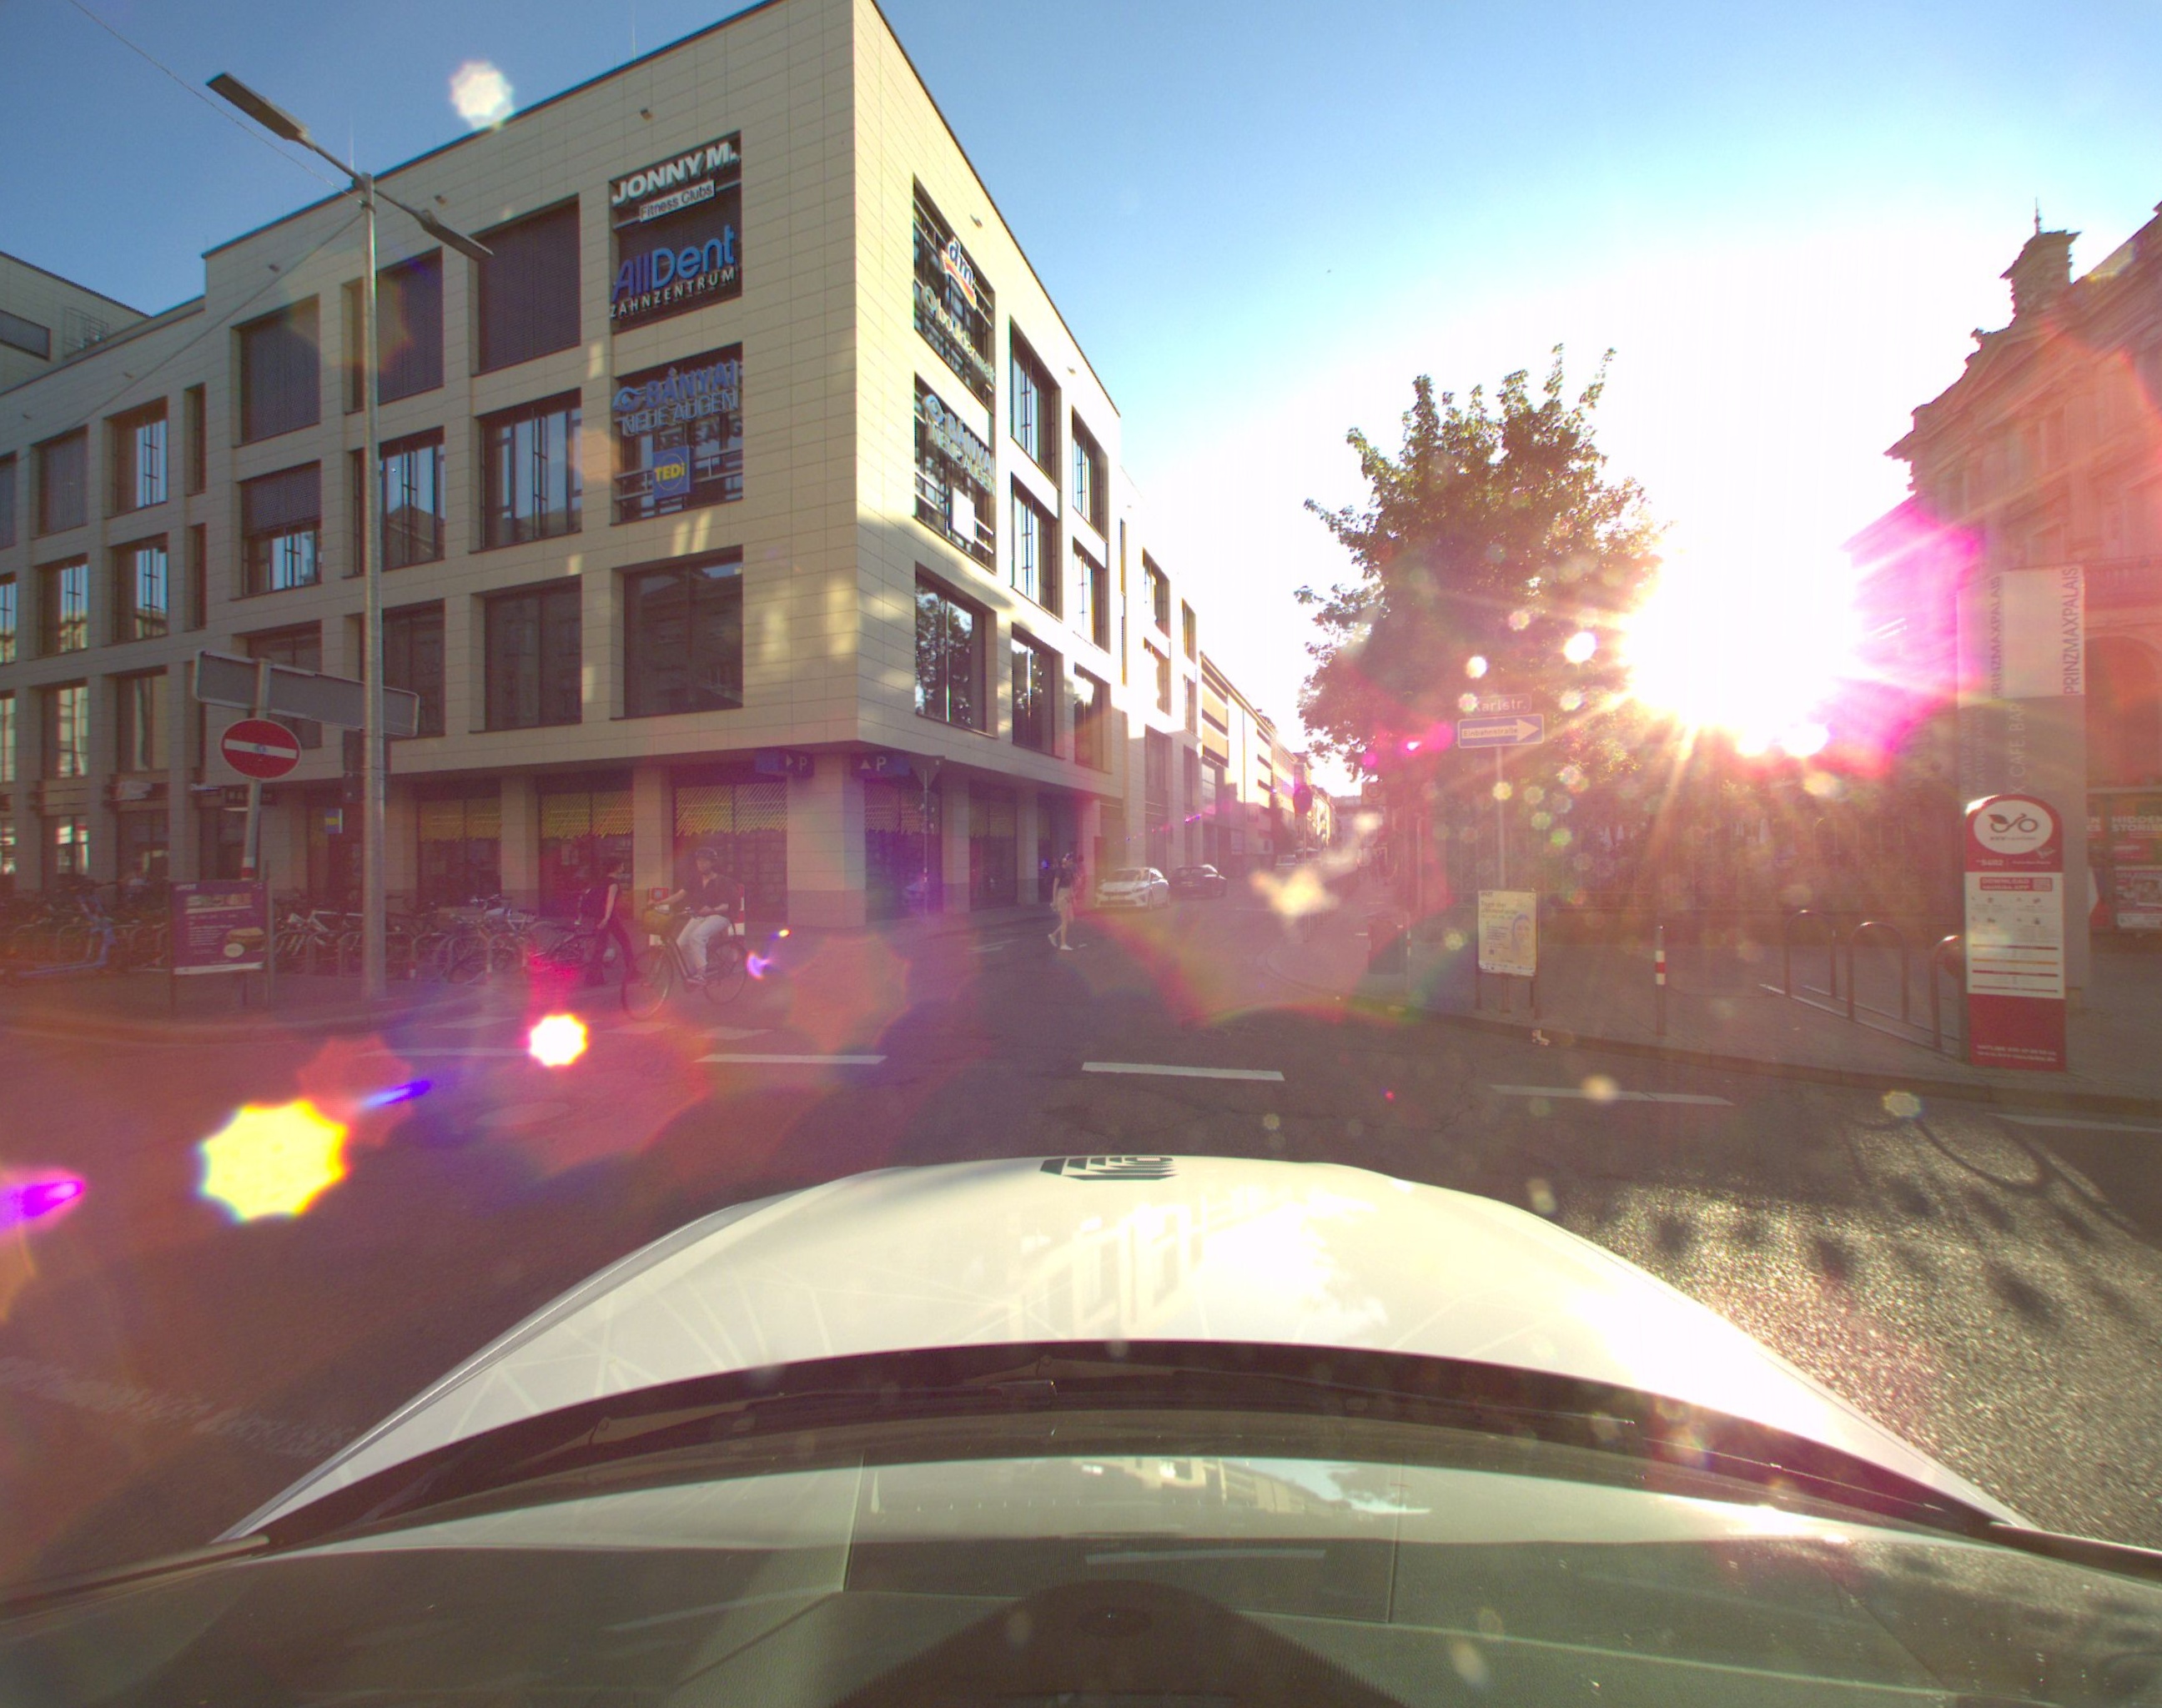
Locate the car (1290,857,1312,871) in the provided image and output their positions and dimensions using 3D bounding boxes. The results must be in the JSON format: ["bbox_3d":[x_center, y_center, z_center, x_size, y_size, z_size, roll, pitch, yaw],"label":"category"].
[{"bbox_3d":[22.295,1.011,82.534,1.868,1.453,4.019,0,0,19],"label":"car"}]

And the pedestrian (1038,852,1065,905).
[{"bbox_3d":[-0.955,0.785,26.362,0.666,1.675,0.650,0,-1,18],"label":"pedestrian"}]

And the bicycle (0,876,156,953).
[{"bbox_3d":[-17.895,1.028,14.388,0.507,1.255,1.988,0,-1,19],"label":"bicycle"}]

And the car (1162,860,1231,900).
[{"bbox_3d":[5.129,1.082,35.577,1.867,1.598,4.714,0,0,22],"label":"car"}]

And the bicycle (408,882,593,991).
[{"bbox_3d":[-7.571,1.019,10.773,0.576,1.255,2.053,0,-1,16],"label":"bicycle"}]

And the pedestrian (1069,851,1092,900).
[{"bbox_3d":[-0.019,0.781,29.600,0.666,1.744,0.650,-1,-1,20],"label":"pedestrian"}]

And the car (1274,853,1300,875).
[{"bbox_3d":[18.215,0.891,71.905,1.868,1.912,4.770,0,0,18],"label":"car"}]

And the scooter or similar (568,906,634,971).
[{"bbox_3d":[-7.159,1.247,12.158,0.383,0.884,0.773,0,-1,19],"label":"scooter or similar"}]

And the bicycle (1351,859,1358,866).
[{"bbox_3d":[45.873,1.431,136.707,0.967,1.280,2.768,0,-1,20],"label":"bicycle"}]

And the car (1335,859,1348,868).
[{"bbox_3d":[47.622,1.751,148.864,1.977,1.684,4.020,0,-1,20],"label":"car"}]

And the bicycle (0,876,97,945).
[{"bbox_3d":[-19.984,1.048,15.198,0.507,1.255,1.988,0,-1,19],"label":"bicycle"}]

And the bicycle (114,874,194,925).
[{"bbox_3d":[-23.708,1.147,20.825,1.956,1.255,0.615,0,-1,19],"label":"bicycle"}]

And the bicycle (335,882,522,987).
[{"bbox_3d":[-8.783,1.029,11.089,0.507,1.255,1.989,0,-1,21],"label":"bicycle"}]

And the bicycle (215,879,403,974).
[{"bbox_3d":[-11.338,1.014,12.067,0.507,1.255,1.988,0,-1,19],"label":"bicycle"}]

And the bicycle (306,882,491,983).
[{"bbox_3d":[-9.463,1.032,11.414,0.507,1.255,1.988,0,-1,19],"label":"bicycle"}]

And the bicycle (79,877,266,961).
[{"bbox_3d":[-14.798,1.012,13.356,0.507,1.255,1.988,0,-1,19],"label":"bicycle"}]

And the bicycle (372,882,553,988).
[{"bbox_3d":[-8.191,1.020,10.914,0.508,1.255,1.987,0,-1,16],"label":"bicycle"}]

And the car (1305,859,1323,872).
[{"bbox_3d":[27.377,1.306,95.553,1.868,1.453,4.019,0,0,19],"label":"car"}]

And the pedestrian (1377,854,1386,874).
[{"bbox_3d":[25.387,0.851,68.729,0.656,1.666,0.627,-3,-1,20],"label":"pedestrian"}]

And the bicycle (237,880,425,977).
[{"bbox_3d":[-10.812,1.023,11.856,0.507,1.255,1.988,0,-1,19],"label":"bicycle"}]

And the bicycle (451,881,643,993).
[{"bbox_3d":[-6.830,1.005,10.595,0.659,1.255,2.150,0,-1,16],"label":"bicycle"}]

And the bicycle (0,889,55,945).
[{"bbox_3d":[-25.356,1.485,19.345,1.957,1.255,0.515,0,-1,17],"label":"bicycle"}]

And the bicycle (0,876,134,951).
[{"bbox_3d":[-18.500,1.041,14.547,0.507,1.255,1.988,0,-1,19],"label":"bicycle"}]

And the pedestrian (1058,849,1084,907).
[{"bbox_3d":[-0.312,0.758,26.150,0.666,1.836,0.650,0,-1,18],"label":"pedestrian"}]

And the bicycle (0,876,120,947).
[{"bbox_3d":[-19.210,1.033,14.931,0.507,1.255,1.988,0,-1,19],"label":"bicycle"}]

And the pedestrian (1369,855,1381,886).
[{"bbox_3d":[15.800,0.894,43.833,0.481,1.658,0.621,-2,-1,13],"label":"pedestrian"}]

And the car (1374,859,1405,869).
[{"bbox_3d":[41.865,1.356,110.631,3.953,1.420,1.665,0,-1,20],"label":"car"}]

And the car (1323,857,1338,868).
[{"bbox_3d":[39.223,1.397,128.006,1.977,1.684,4.020,0,-1,20],"label":"car"}]

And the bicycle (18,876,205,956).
[{"bbox_3d":[-16.610,1.018,14.035,0.507,1.255,1.988,0,-1,19],"label":"bicycle"}]

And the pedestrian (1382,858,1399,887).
[{"bbox_3d":[16.460,0.958,43.284,0.743,1.500,0.621,-2,-1,15],"label":"pedestrian"}]

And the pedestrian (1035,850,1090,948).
[{"bbox_3d":[-0.347,0.796,14.836,0.640,1.723,0.836,0,-1,-35],"label":"pedestrian"}]

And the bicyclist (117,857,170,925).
[{"bbox_3d":[-23.878,0.913,20.744,0.637,1.695,0.688,0,-1,20],"label":"bicyclist"}]

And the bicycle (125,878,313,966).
[{"bbox_3d":[-13.493,1.021,12.847,0.508,1.255,1.987,0,-1,17],"label":"bicycle"}]

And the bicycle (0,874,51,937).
[{"bbox_3d":[-22.083,1.032,16.140,0.507,1.255,1.988,0,-1,19],"label":"bicycle"}]

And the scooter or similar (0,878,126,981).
[{"bbox_3d":[-12.998,0.920,10.195,0.383,1.212,1.277,0,-1,19],"label":"scooter or similar"}]

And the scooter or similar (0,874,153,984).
[{"bbox_3d":[-12.491,0.886,10.059,0.383,1.260,1.277,0,-1,19],"label":"scooter or similar"}]

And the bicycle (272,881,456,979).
[{"bbox_3d":[-10.191,1.026,11.691,0.507,1.255,1.988,0,-1,18],"label":"bicycle"}]

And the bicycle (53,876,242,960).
[{"bbox_3d":[-15.381,1.013,13.508,0.507,1.255,1.988,0,-1,19],"label":"bicycle"}]

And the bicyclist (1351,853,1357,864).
[{"bbox_3d":[45.836,0.796,136.580,0.981,1.869,0.712,0,-1,21],"label":"bicyclist"}]

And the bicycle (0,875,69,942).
[{"bbox_3d":[-20.714,1.036,15.348,0.507,1.255,1.988,0,-1,19],"label":"bicycle"}]

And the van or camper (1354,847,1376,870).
[{"bbox_3d":[35.399,0.570,101.387,2.239,2.607,5.137,-5,-3,20],"label":"van or camper"}]

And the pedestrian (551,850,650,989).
[{"bbox_3d":[-5.983,0.784,10.178,0.612,1.658,0.875,0,-1,14],"label":"pedestrian"}]

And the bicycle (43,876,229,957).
[{"bbox_3d":[-15.962,1.016,13.840,0.507,1.255,1.988,0,-1,19],"label":"bicycle"}]

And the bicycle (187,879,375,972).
[{"bbox_3d":[-12.000,1.022,12.321,0.507,1.255,1.988,0,-1,19],"label":"bicycle"}]

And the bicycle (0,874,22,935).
[{"bbox_3d":[-22.807,1.044,16.227,0.507,1.255,1.988,0,-1,19],"label":"bicycle"}]

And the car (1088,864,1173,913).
[{"bbox_3d":[1.731,1.078,27.122,1.763,1.453,4.251,0,0,19],"label":"car"}]

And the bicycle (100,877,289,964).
[{"bbox_3d":[-14.089,1.012,13.036,0.507,1.255,1.988,0,-1,19],"label":"bicycle"}]

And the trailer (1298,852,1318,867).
[{"bbox_3d":[25.424,0.645,91.132,1.977,1.557,4.019,0,-1,19],"label":"trailer"}]

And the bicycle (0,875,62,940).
[{"bbox_3d":[-21.333,1.040,15.720,0.507,1.255,1.988,0,-1,19],"label":"bicycle"}]

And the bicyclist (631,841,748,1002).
[{"bbox_3d":[-4.038,0.663,8.444,0.653,1.570,0.867,0,-1,16],"label":"bicyclist"}]

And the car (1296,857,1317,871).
[{"bbox_3d":[24.074,1.077,86.963,1.868,1.453,4.019,0,0,19],"label":"car"}]

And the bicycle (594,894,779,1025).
[{"bbox_3d":[-4.022,1.023,8.491,0.659,1.138,1.829,0,-1,16],"label":"bicycle"}]

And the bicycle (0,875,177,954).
[{"bbox_3d":[-17.325,1.001,14.217,0.507,1.255,1.988,0,-1,19],"label":"bicycle"}]

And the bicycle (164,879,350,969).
[{"bbox_3d":[-12.689,1.025,12.641,0.507,1.255,1.988,0,-1,19],"label":"bicycle"}]
